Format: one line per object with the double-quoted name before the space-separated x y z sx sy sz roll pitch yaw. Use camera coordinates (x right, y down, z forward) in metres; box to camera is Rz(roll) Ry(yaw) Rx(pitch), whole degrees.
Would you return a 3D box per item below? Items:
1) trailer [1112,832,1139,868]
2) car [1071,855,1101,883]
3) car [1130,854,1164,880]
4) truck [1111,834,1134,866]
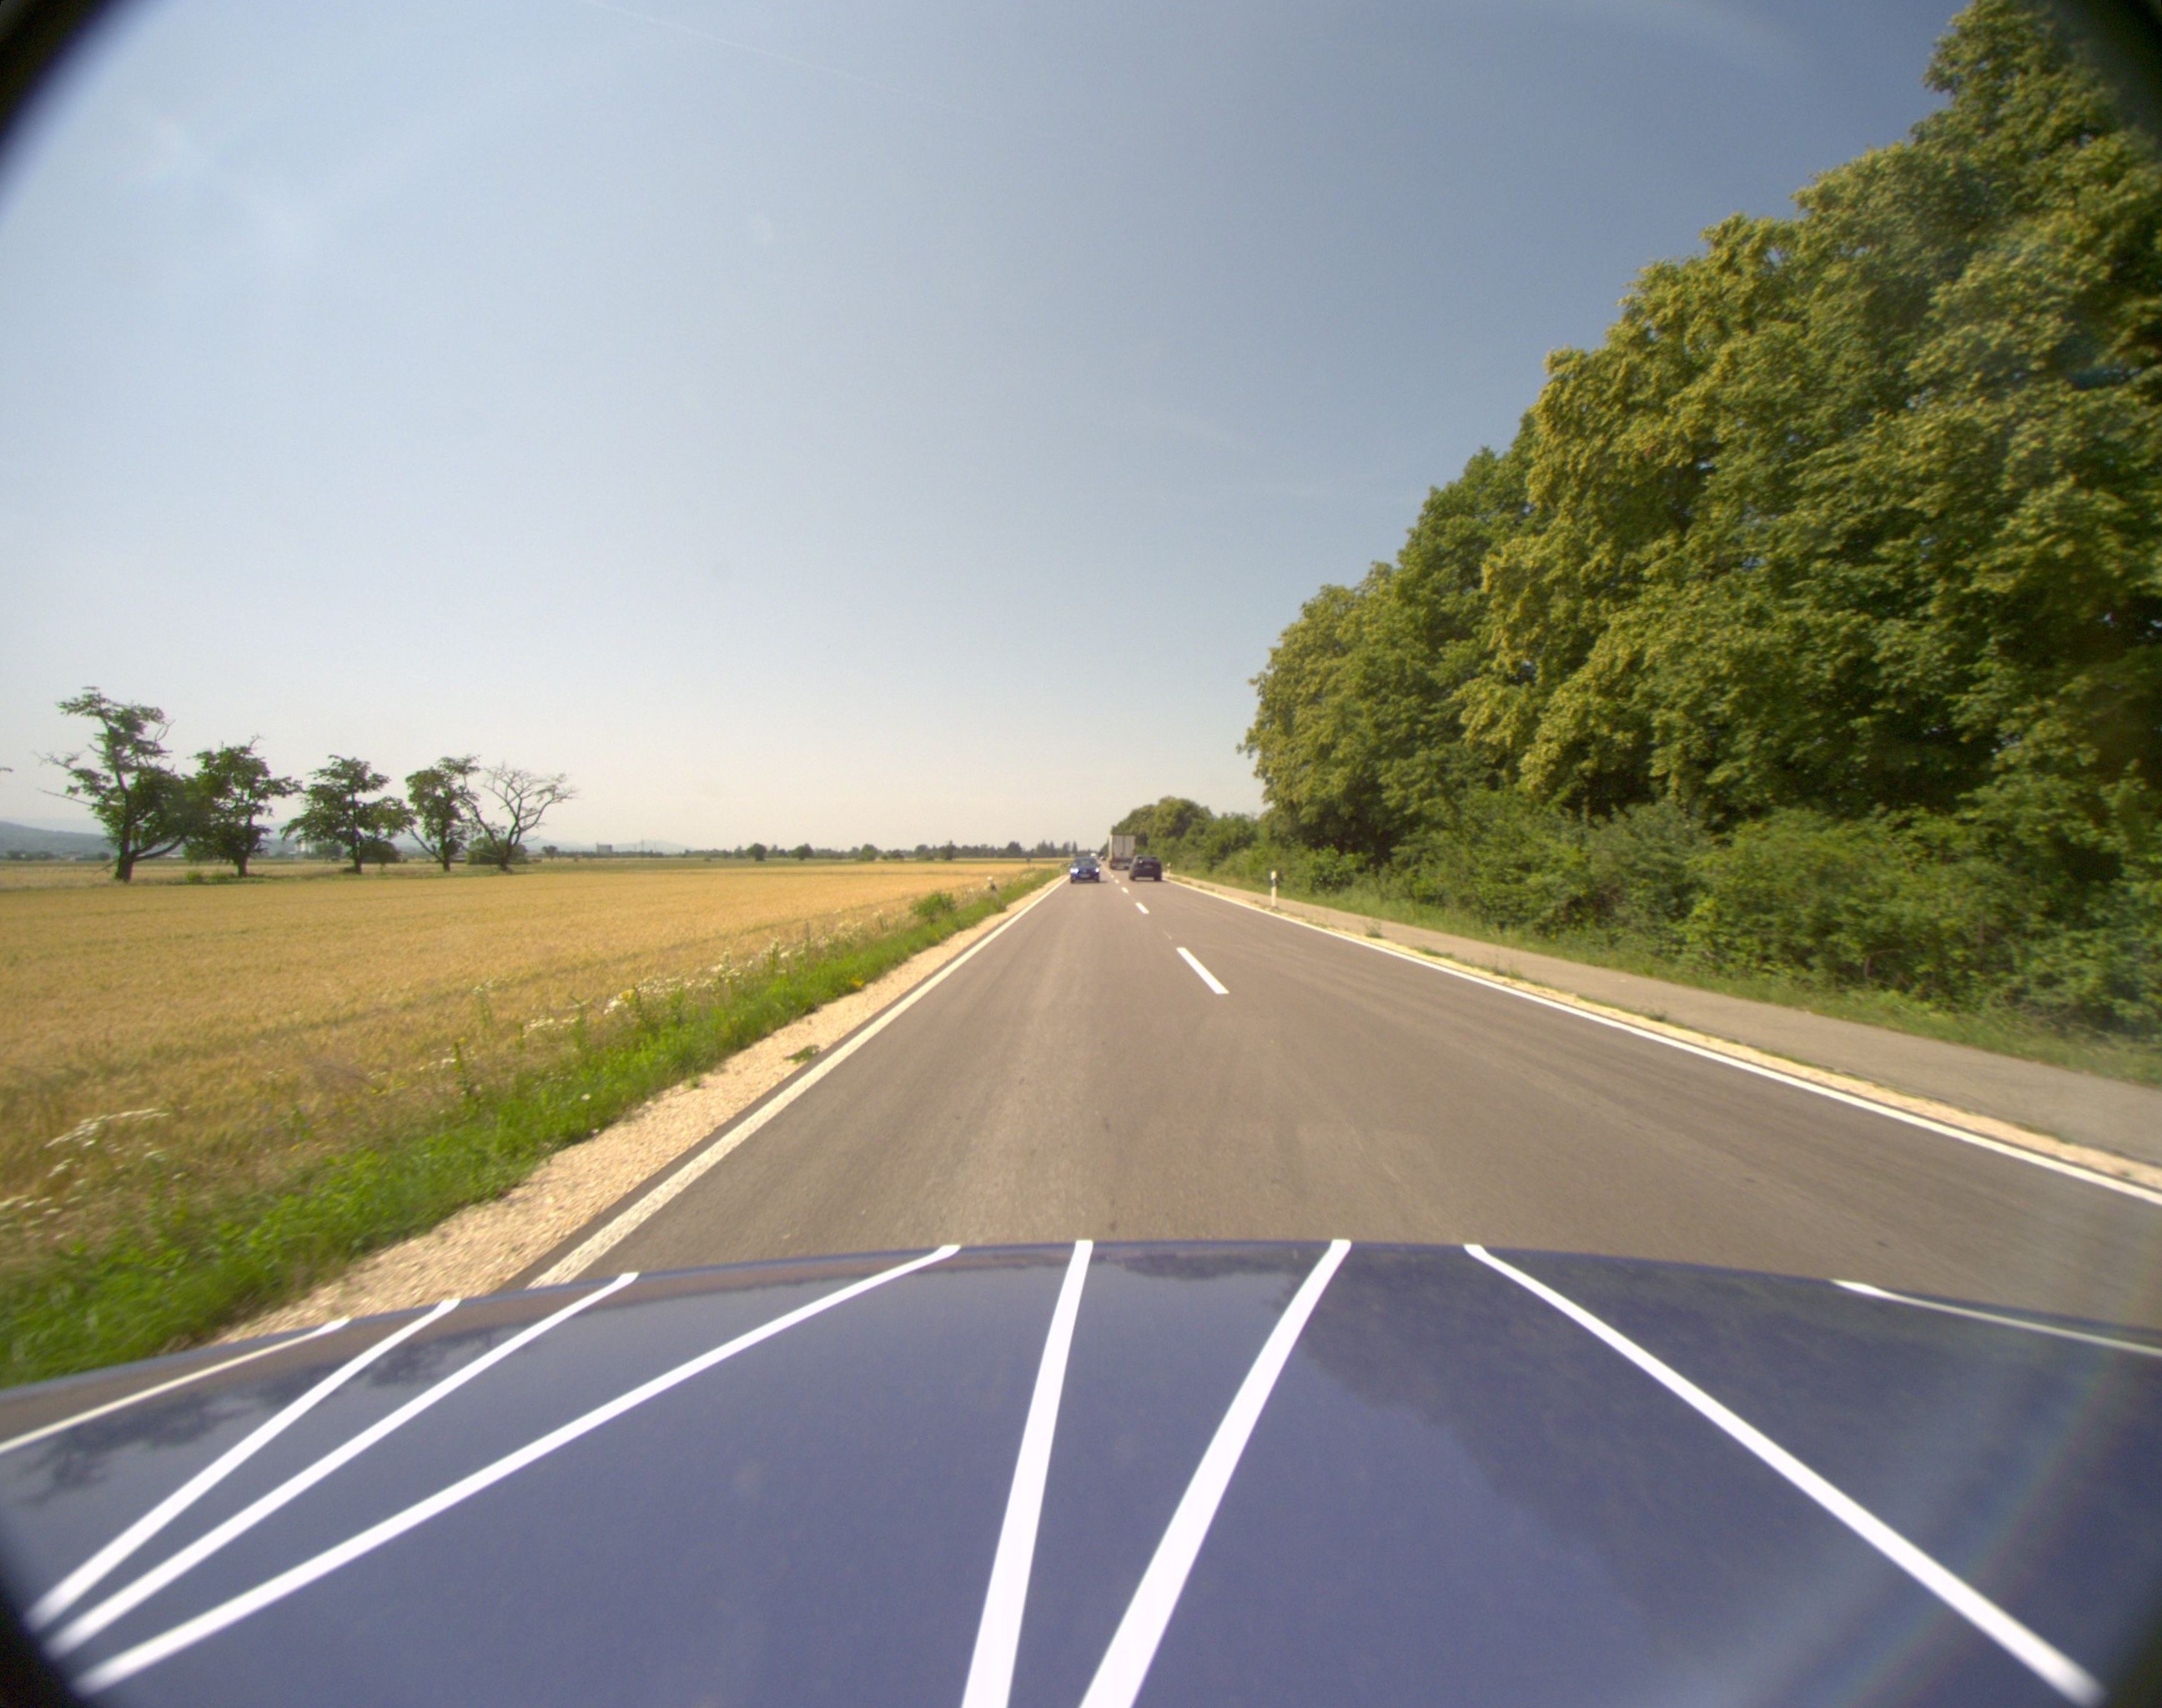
"trailer" 5.117 -0.468 89.701 2.660 3.954 13.354 1 0 1
"car" 0.299 0.872 45.866 1.662 1.508 4.000 -2 0 1
"car" 4.111 0.800 47.942 1.796 1.565 4.479 0 0 1
"truck" 5.252 -0.511 96.714 2.662 3.954 5.727 1 0 1
